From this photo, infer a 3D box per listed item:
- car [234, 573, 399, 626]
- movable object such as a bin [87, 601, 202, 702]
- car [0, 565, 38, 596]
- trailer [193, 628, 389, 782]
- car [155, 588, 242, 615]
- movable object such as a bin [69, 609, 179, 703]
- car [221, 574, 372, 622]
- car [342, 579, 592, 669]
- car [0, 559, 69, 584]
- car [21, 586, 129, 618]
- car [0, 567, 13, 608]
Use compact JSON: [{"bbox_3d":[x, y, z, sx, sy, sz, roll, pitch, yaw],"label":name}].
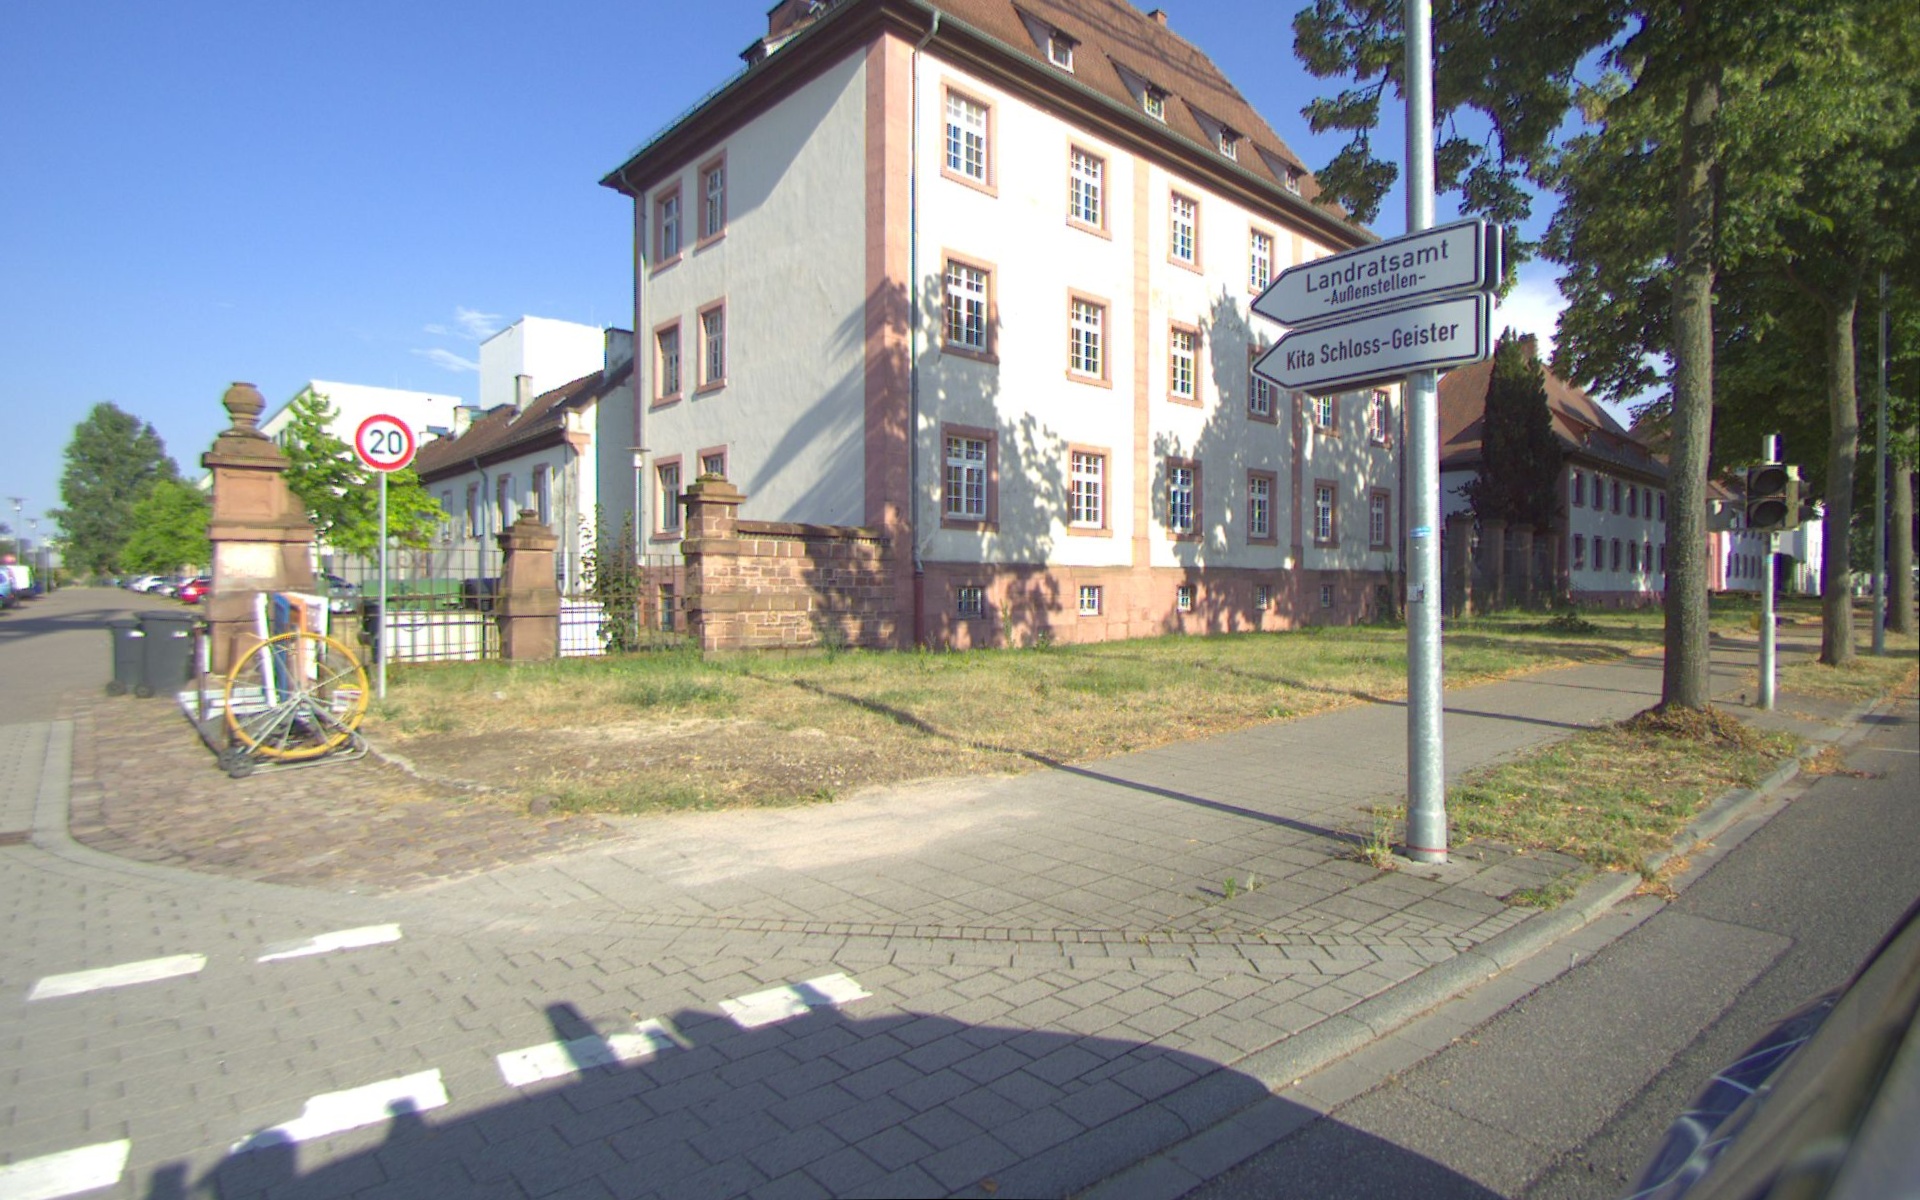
[{"bbox_3d":[-23.829,-0.037,37.591,4.887,1.734,1.996,-3,0,-42],"label":"car"},{"bbox_3d":[-9.716,0.597,12.106,0.920,1.105,0.987,-2,-1,-32],"label":"movable object such as a bin"},{"bbox_3d":[-54.594,-1.086,56.925,3.931,1.638,1.997,-3,0,-41],"label":"car"},{"bbox_3d":[-5.366,0.803,8.145,1.245,1.080,0.483,-2,-1,-40],"label":"trailer"},{"bbox_3d":[-55.622,0.088,73.960,4.887,1.734,1.996,-3,0,-42],"label":"car"},{"bbox_3d":[-10.663,0.694,12.955,0.920,1.105,0.987,-2,-1,-32],"label":"movable object such as a bin"},{"bbox_3d":[-27.066,-0.089,41.376,4.887,1.734,1.996,-3,0,-42],"label":"car"},{"bbox_3d":[-9.397,0.414,19.463,3.935,1.471,1.792,-3,0,-44],"label":"car"},{"bbox_3d":[-67.634,-2.072,73.736,3.931,1.638,1.997,-3,0,-41],"label":"car"},{"bbox_3d":[-54.183,0.131,62.075,4.887,1.734,1.996,-3,0,-42],"label":"car"},{"bbox_3d":[-41.738,-0.440,41.617,3.931,1.638,1.997,-3,0,-41],"label":"car"}]
